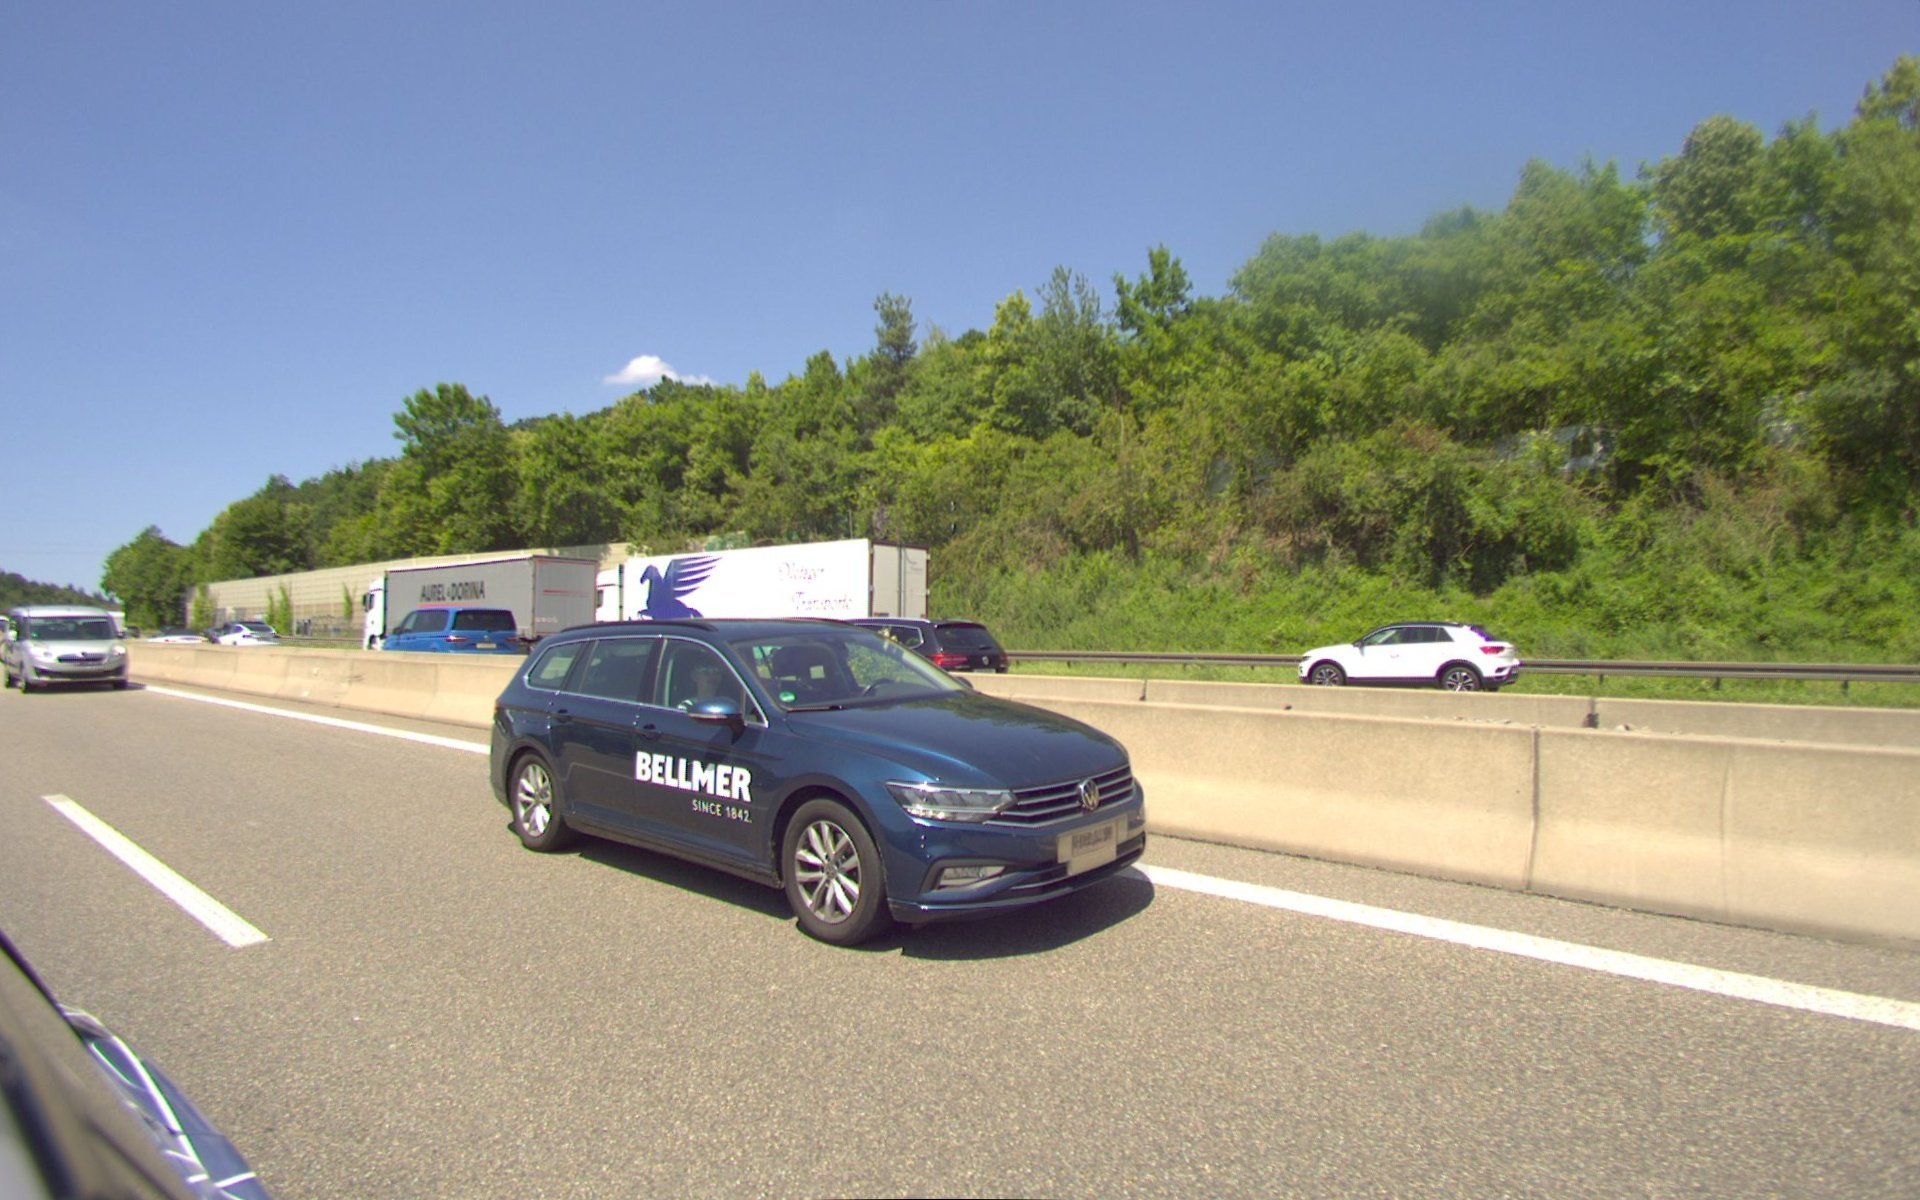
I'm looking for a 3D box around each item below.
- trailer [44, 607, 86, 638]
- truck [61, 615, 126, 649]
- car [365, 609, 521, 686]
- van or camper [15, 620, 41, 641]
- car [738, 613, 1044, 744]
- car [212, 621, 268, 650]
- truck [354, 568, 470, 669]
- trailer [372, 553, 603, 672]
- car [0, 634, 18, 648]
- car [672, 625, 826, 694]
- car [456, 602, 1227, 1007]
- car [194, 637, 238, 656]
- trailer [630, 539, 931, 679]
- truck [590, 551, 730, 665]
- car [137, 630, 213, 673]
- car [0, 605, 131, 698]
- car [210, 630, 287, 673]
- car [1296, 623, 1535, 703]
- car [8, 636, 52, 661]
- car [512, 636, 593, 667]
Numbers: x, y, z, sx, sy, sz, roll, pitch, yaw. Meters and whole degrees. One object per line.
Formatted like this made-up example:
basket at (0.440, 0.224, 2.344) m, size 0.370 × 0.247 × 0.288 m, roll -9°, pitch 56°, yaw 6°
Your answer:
trailer at (-119.629, 3.017, 135.234) m, size 13.827 × 3.938 × 2.782 m, roll -1°, pitch -3°, yaw 43°
truck at (-72.331, 2.612, 84.373) m, size 11.624 × 2.709 × 2.501 m, roll -1°, pitch -3°, yaw 42°
car at (-13.726, 1.213, 26.731) m, size 5.034 × 1.861 × 1.892 m, roll -1°, pitch -3°, yaw 41°
van or camper at (-128.669, 4.160, 139.659) m, size 6.809 × 2.756 × 2.244 m, roll -1°, pitch -3°, yaw 45°
car at (-1.135, 1.050, 14.967) m, size 4.535 × 1.652 × 1.886 m, roll -2°, pitch -2°, yaw 41°
car at (-46.472, 2.301, 65.298) m, size 4.859 × 1.823 × 1.717 m, roll -2°, pitch -3°, yaw 39°
truck at (-24.832, 0.868, 45.803) m, size 5.657 × 4.246 × 2.811 m, roll -2°, pitch -2°, yaw 41°
trailer at (-19.726, 0.569, 41.339) m, size 14.732 × 4.197 × 2.805 m, roll -1°, pitch -3°, yaw 41°
car at (-94.813, 4.064, 100.403) m, size 4.269 × 1.386 × 1.597 m, roll -2°, pitch -3°, yaw 42°
car at (-4.964, 1.342, 23.541) m, size 3.729 × 1.456 × 1.566 m, roll -1°, pitch -3°, yaw 41°
car at (-1.030, 0.804, 5.840) m, size 4.728 × 1.438 × 1.714 m, roll -2°, pitch -3°, yaw 42°
car at (-60.634, 3.811, 82.497) m, size 4.692 × 1.446 × 1.926 m, roll -1°, pitch -3°, yaw 42°
trailer at (-6.568, 0.377, 34.521) m, size 12.620 × 4.078 × 2.778 m, roll -1°, pitch -3°, yaw 41°
truck at (-11.573, 0.349, 38.903) m, size 5.082 × 4.078 × 2.778 m, roll -1°, pitch -3°, yaw 41°
car at (-35.680, 2.318, 45.978) m, size 3.998 × 1.807 × 1.972 m, roll -1°, pitch -3°, yaw 41°
car at (-19.802, 1.111, 22.274) m, size 3.998 × 1.858 × 1.757 m, roll -2°, pitch -3°, yaw 42°
car at (-35.498, 2.531, 50.441) m, size 4.745 × 1.964 × 1.973 m, roll -1°, pitch -3°, yaw 41°
car at (9.250, 1.231, 20.758) m, size 4.188 × 1.478 × 1.649 m, roll -2°, pitch -2°, yaw 41°
car at (-71.154, 3.678, 77.396) m, size 4.692 × 1.815 × 1.926 m, roll -1°, pitch -3°, yaw 42°
car at (-19.206, 2.391, 47.606) m, size 4.499 × 1.381 × 1.744 m, roll -2°, pitch -3°, yaw 42°
